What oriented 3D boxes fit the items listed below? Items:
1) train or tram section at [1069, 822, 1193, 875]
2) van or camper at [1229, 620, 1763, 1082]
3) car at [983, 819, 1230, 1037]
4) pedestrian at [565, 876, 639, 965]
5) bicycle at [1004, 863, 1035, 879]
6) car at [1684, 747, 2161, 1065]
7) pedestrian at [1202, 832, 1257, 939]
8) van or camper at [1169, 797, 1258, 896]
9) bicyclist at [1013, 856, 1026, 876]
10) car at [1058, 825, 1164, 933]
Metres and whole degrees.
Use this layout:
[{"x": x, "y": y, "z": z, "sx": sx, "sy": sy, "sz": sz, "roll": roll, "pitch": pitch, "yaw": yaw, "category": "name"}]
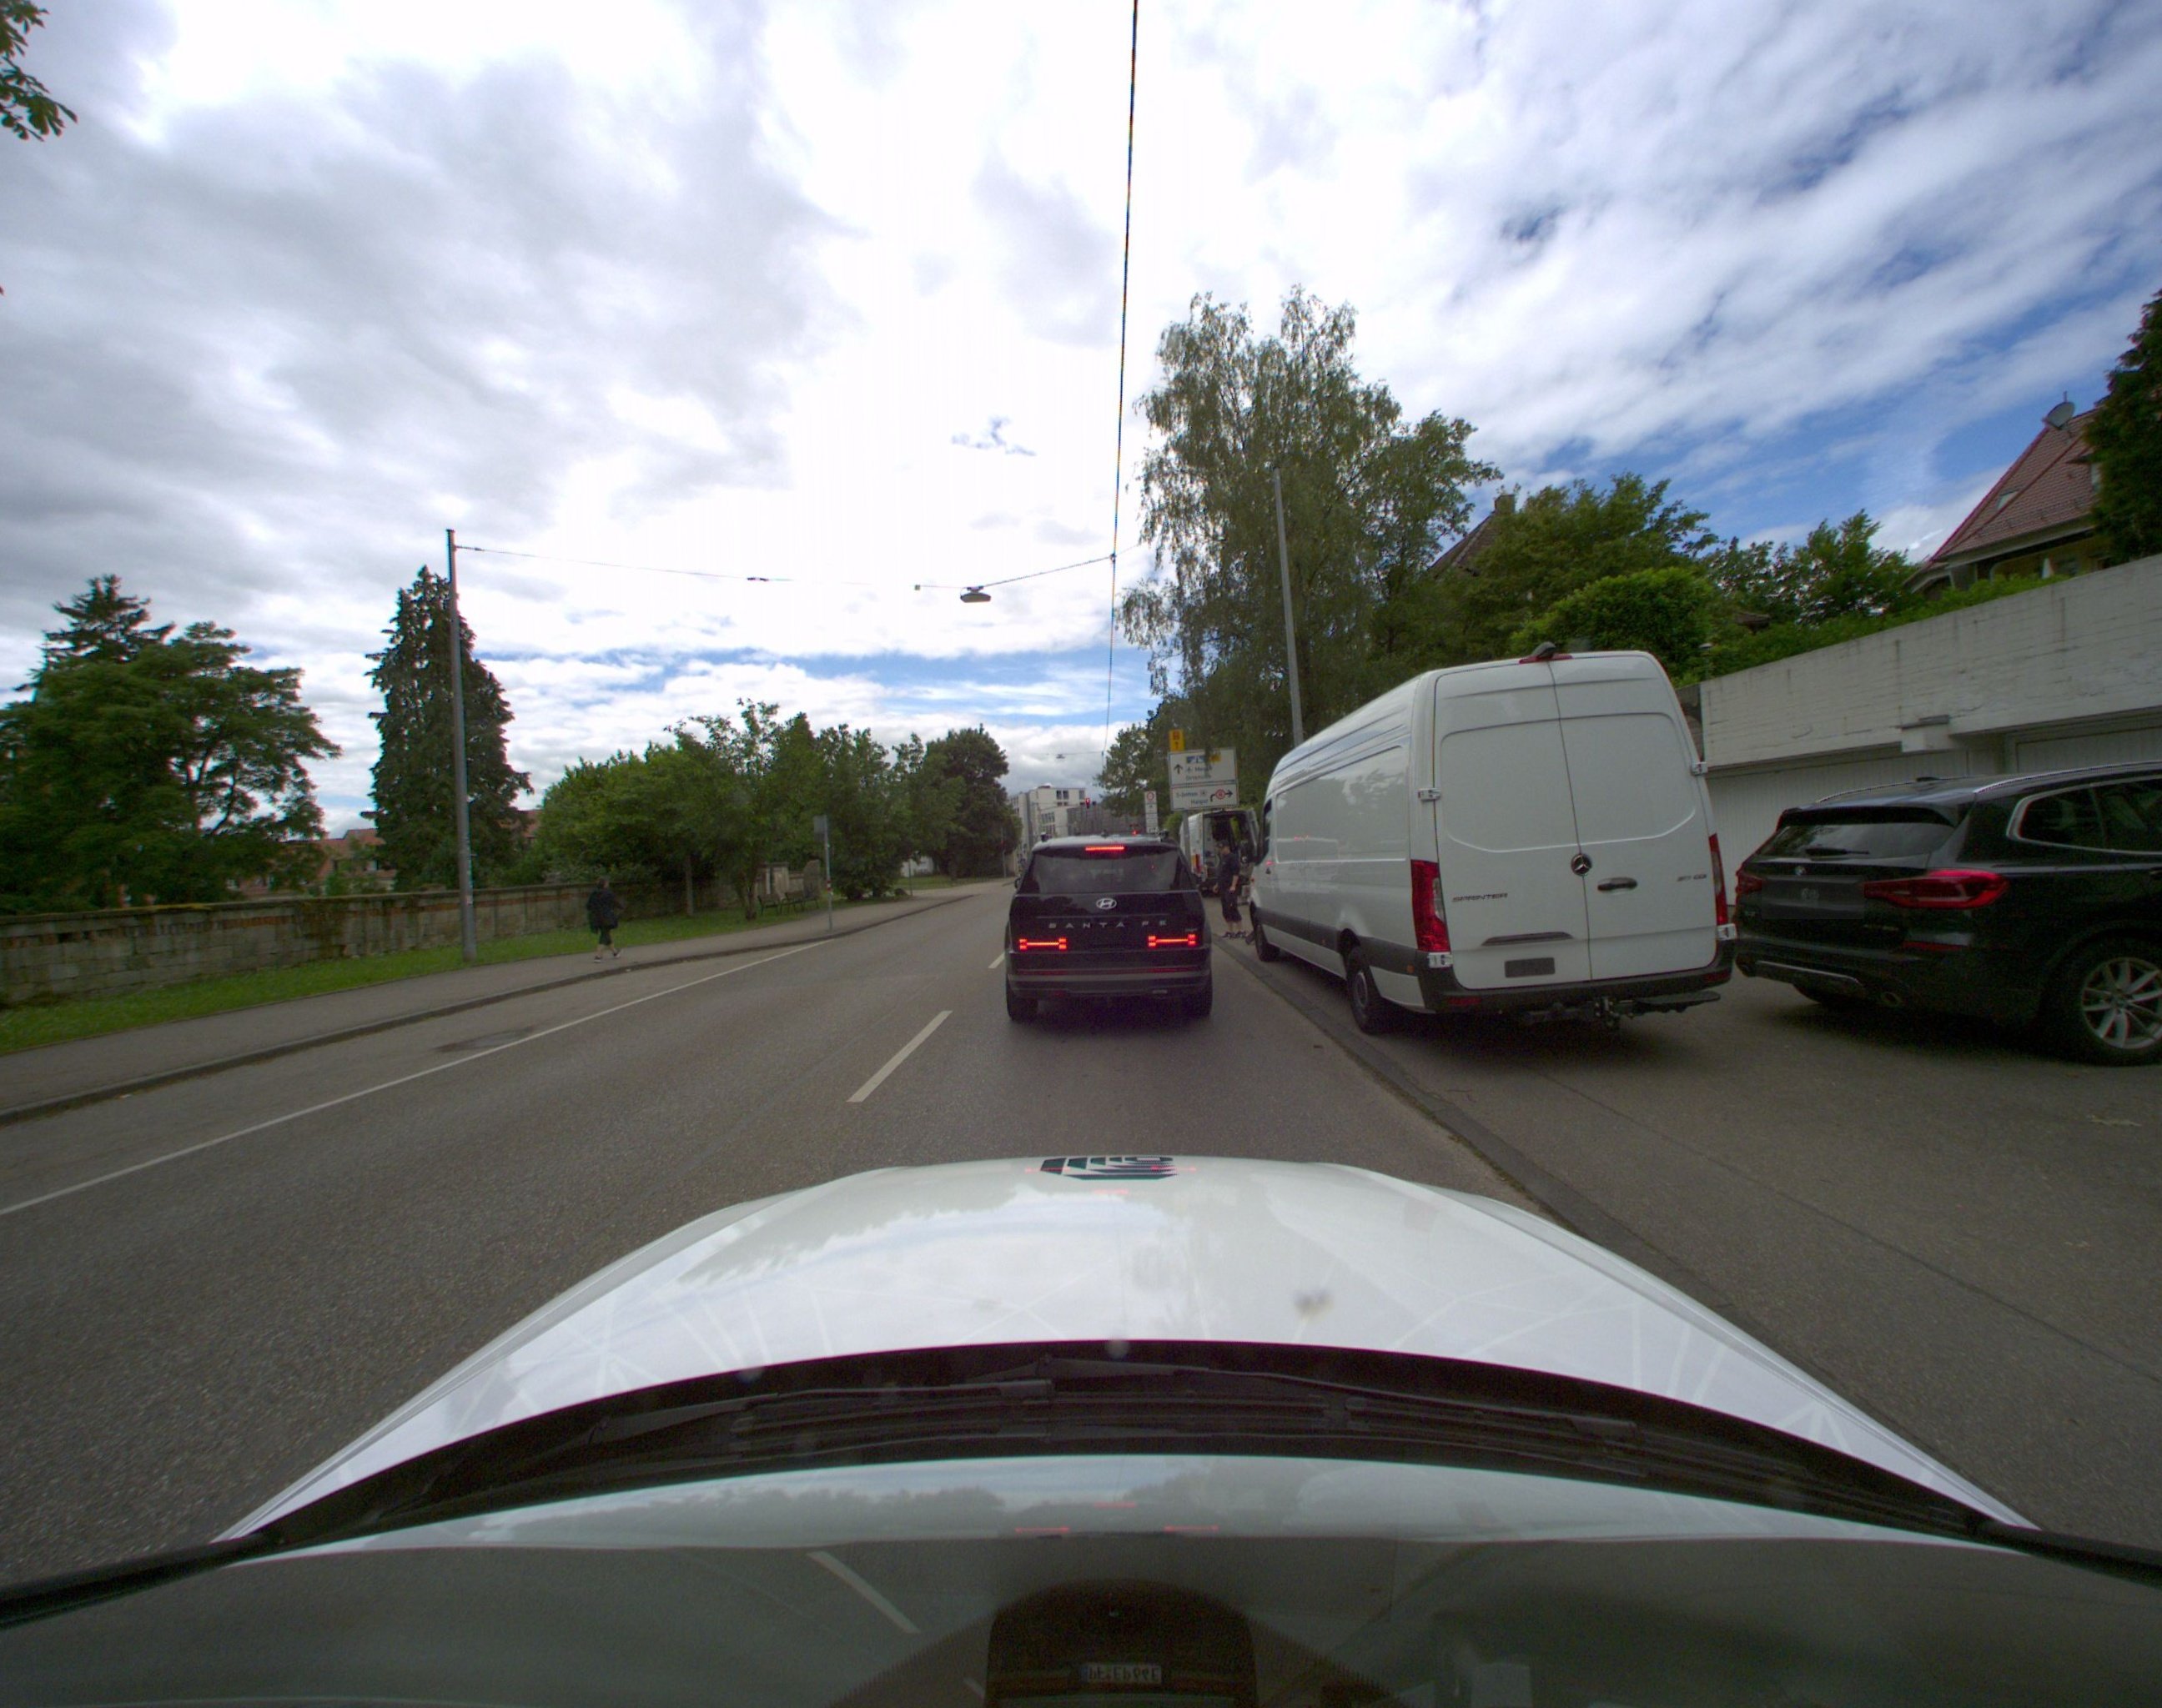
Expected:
[{"x": 4.548, "y": -0.315, "z": 83.162, "sx": 3.212, "sy": 4.523, "sz": 18.507, "roll": -1, "pitch": -2, "yaw": -29, "category": "train or tram section"}, {"x": 3.099, "y": -0.017, "z": 8.130, "sx": 1.957, "sy": 2.627, "sz": 6.359, "roll": -5, "pitch": 0, "yaw": 1, "category": "van or camper"}, {"x": 0.247, "y": 0.611, "z": 8.663, "sx": 1.957, "sy": 1.711, "sz": 4.001, "roll": -2, "pitch": 0, "yaw": 1, "category": "car"}, {"x": -9.018, "y": 1.229, "z": 15.365, "sx": 0.746, "sy": 1.578, "sz": 0.967, "roll": -2, "pitch": 0, "yaw": 1, "category": "pedestrian"}, {"x": -5.208, "y": 1.443, "z": 68.970, "sx": 2.477, "sy": 1.279, "sz": 0.679, "roll": -2, "pitch": -2, "yaw": 11, "category": "bicycle"}, {"x": 6.856, "y": 0.178, "z": 5.303, "sx": 4.376, "sy": 1.652, "sz": 1.831, "roll": -4, "pitch": 0, "yaw": 2, "category": "car"}, {"x": 2.504, "y": 0.527, "z": 13.753, "sx": 0.620, "sy": 1.743, "sz": 0.600, "roll": -1, "pitch": -2, "yaw": -26, "category": "pedestrian"}, {"x": 4.242, "y": -0.211, "z": 26.946, "sx": 1.957, "sy": 2.797, "sz": 5.287, "roll": -5, "pitch": 0, "yaw": 1, "category": "van or camper"}, {"x": -5.220, "y": 1.015, "z": 68.985, "sx": 0.850, "sy": 1.659, "sz": 0.679, "roll": -2, "pitch": -2, "yaw": 11, "category": "bicyclist"}, {"x": 0.616, "y": 0.487, "z": 17.673, "sx": 1.957, "sy": 2.001, "sz": 4.001, "roll": -2, "pitch": 0, "yaw": 1, "category": "car"}]
